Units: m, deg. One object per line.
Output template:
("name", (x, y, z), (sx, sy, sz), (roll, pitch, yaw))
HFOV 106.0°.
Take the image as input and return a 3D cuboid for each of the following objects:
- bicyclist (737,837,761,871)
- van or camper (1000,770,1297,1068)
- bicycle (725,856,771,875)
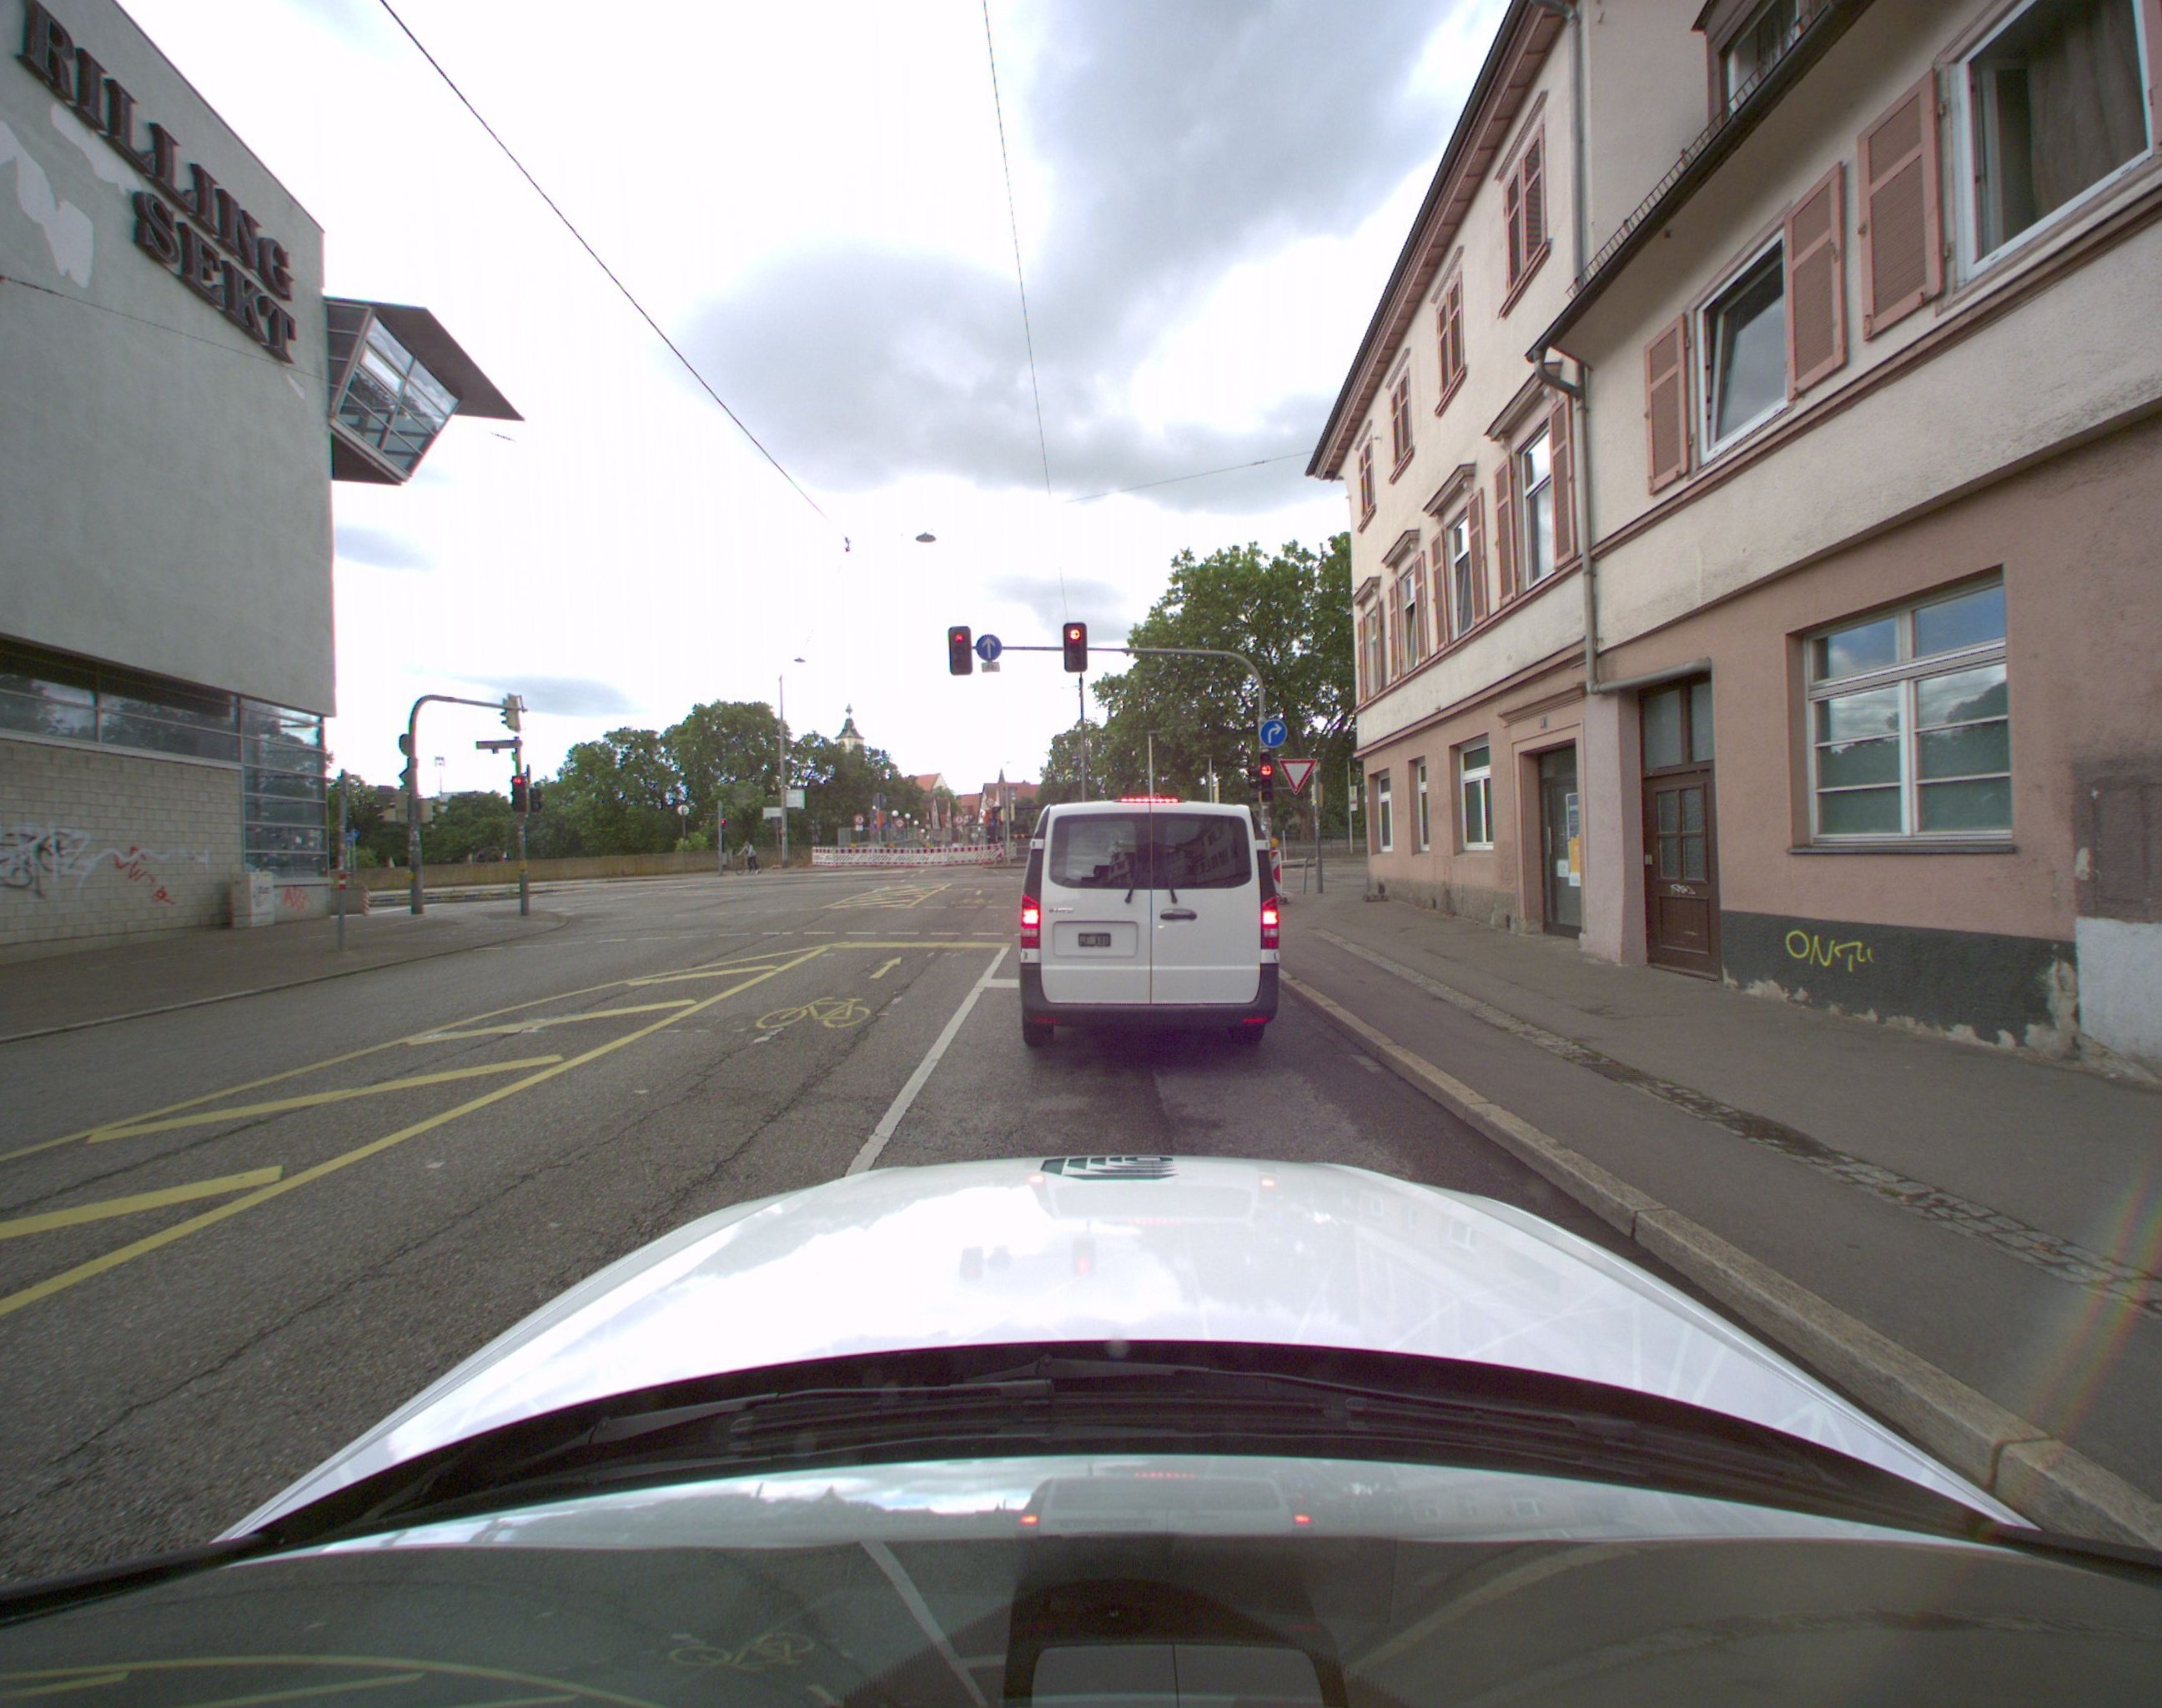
("bicyclist", (-17.817, -0.011, 43.715), (1.010, 1.743, 0.746), (-2, 2, -40))
("van or camper", (0.429, 0.369, 7.509), (1.932, 1.924, 4.440), (0, 1, -1))
("bicycle", (-17.887, 0.589, 43.747), (2.149, 0.892, 0.751), (-3, 2, -40))
